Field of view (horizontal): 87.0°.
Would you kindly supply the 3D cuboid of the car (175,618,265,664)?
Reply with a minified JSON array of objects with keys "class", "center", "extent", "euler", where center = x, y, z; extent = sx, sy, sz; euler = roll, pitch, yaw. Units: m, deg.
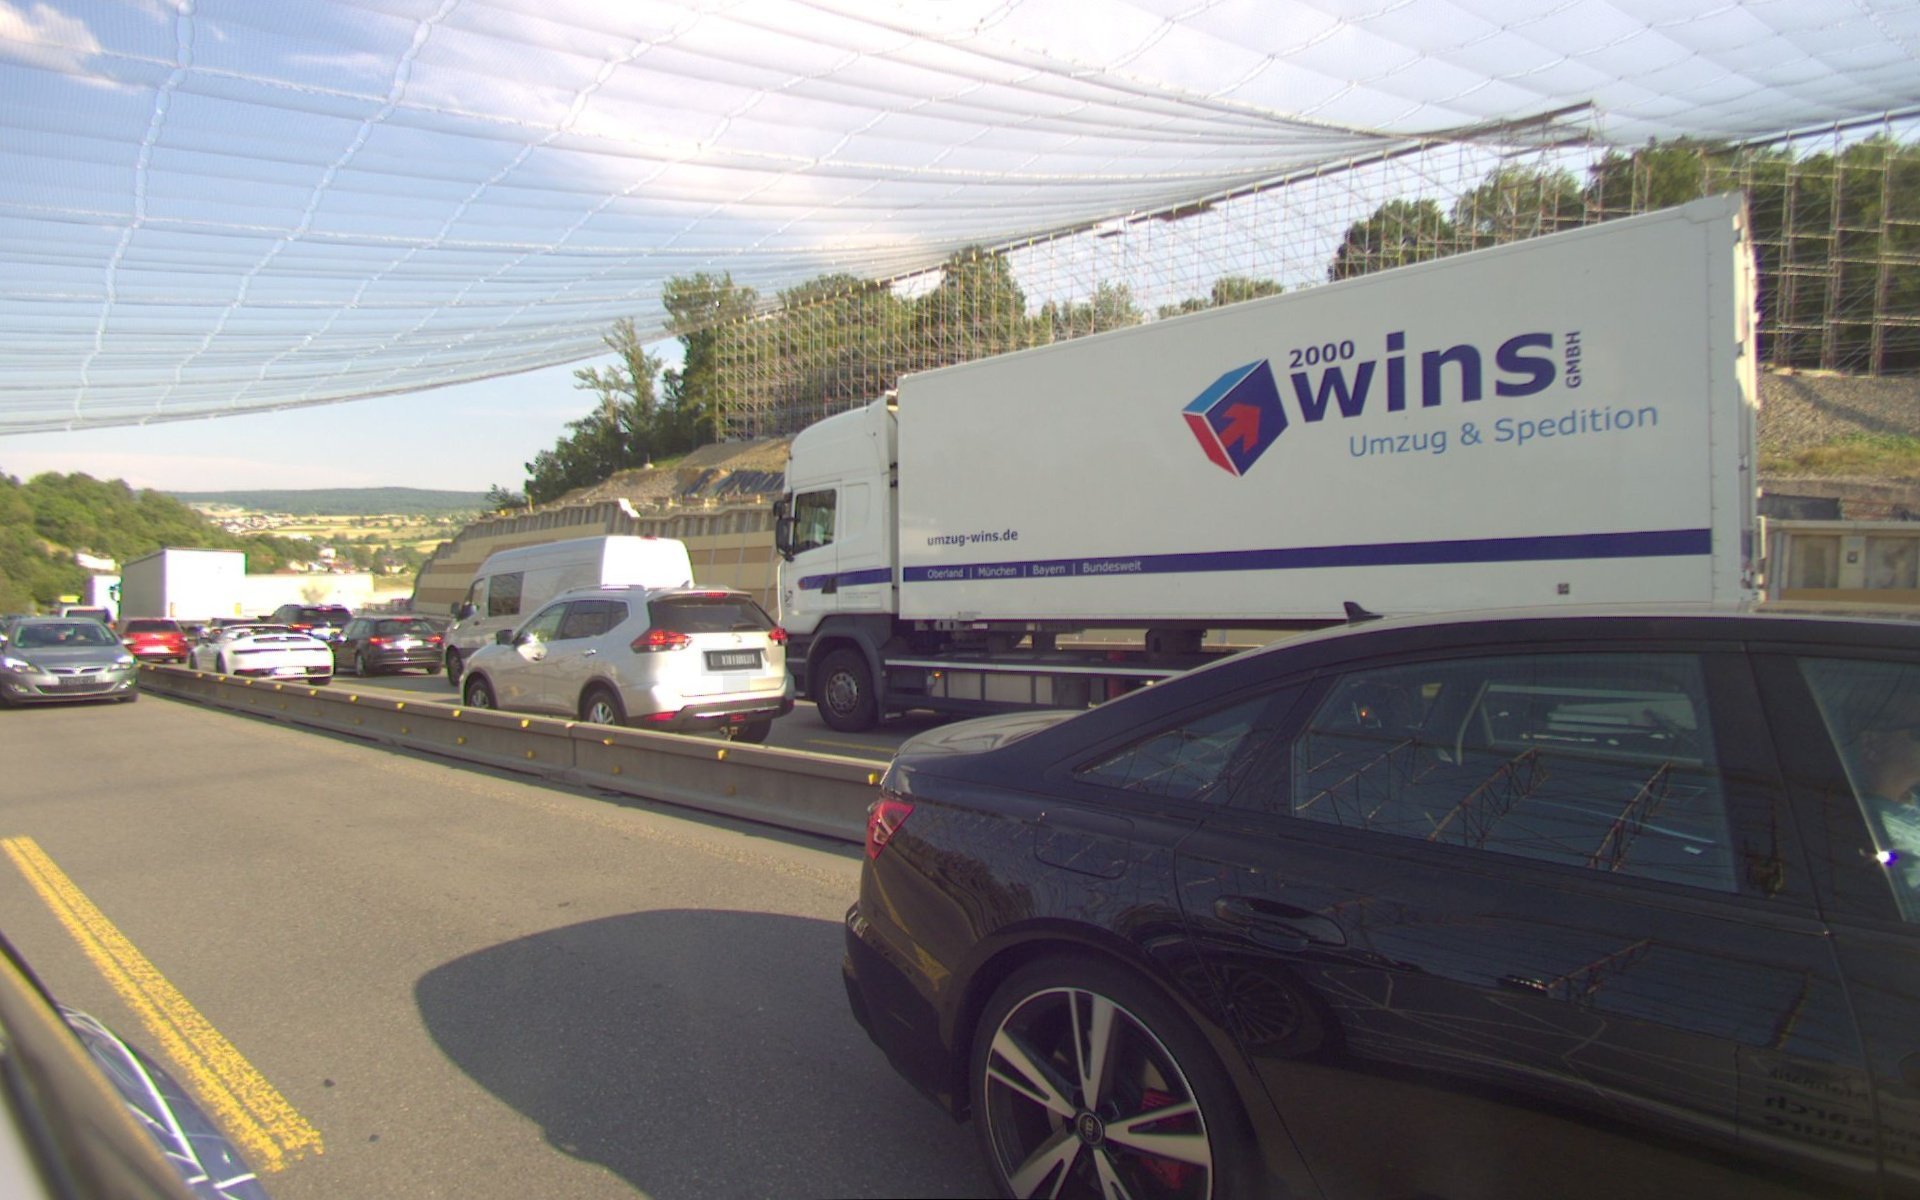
[{"class":"car","center":[-26.783,1.430,36.579],"extent":[4.910,1.552,1.772],"euler":[-1,0,43]}]

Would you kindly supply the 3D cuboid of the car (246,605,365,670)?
[{"class":"car","center":[-19.330,1.053,29.809],"extent":[4.937,1.740,1.804],"euler":[-1,0,43]}]

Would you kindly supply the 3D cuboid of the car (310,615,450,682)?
[{"class":"car","center":[-14.068,1.108,24.445],"extent":[4.381,1.448,1.772],"euler":[-1,0,43]}]

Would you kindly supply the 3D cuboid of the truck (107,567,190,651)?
[{"class":"truck","center":[-40.190,0.441,50.078],"extent":[6.051,3.937,2.488],"euler":[-1,-1,44]}]

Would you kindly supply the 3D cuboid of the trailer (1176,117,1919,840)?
[{"class":"trailer","center":[7.807,-0.714,5.353],"extent":[13.321,4.046,2.643],"euler":[-1,0,40]}]

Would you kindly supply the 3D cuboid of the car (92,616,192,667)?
[{"class":"car","center":[-25.428,1.243,31.415],"extent":[4.518,1.430,1.788],"euler":[-1,0,43]}]

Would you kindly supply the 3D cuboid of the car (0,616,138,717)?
[{"class":"car","center":[-15.497,1.033,17.228],"extent":[4.352,1.484,1.737],"euler":[-1,0,43]}]

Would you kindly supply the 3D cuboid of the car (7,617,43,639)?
[{"class":"car","center":[-67.692,1.988,73.245],"extent":[1.912,1.530,4.982],"euler":[0,0,-43]}]

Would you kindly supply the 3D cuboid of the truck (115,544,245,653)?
[{"class":"truck","center":[-35.242,0.018,45.388],"extent":[14.173,4.259,2.691],"euler":[-1,0,44]}]

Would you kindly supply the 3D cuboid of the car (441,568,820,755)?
[{"class":"car","center":[-3.616,0.544,10.691],"extent":[4.363,1.580,1.790],"euler":[-1,0,40]}]

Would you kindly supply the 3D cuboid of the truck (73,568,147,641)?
[{"class":"truck","center":[-59.652,0.366,70.811],"extent":[2.952,4.593,17.422],"euler":[0,0,-43]}]

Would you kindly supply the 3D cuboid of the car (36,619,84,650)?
[{"class":"car","center":[-48.797,1.831,54.848],"extent":[4.219,1.563,1.564],"euler":[-1,0,43]}]

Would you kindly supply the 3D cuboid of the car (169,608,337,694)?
[{"class":"car","center":[-14.606,0.976,20.810],"extent":[4.363,1.580,1.790],"euler":[-1,0,40]}]

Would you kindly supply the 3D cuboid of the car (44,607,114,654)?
[{"class":"car","center":[-38.258,1.279,43.909],"extent":[5.282,1.883,1.788],"euler":[-1,0,43]}]

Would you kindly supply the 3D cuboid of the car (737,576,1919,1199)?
[{"class":"car","center":[1.899,0.663,1.781],"extent":[4.958,1.409,1.914],"euler":[-2,-1,41]}]

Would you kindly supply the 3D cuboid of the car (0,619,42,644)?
[{"class":"car","center":[-60.657,1.986,65.229],"extent":[4.647,1.546,1.913],"euler":[-1,0,44]}]

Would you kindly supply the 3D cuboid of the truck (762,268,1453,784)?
[{"class":"truck","center":[1.139,-0.530,11.068],"extent":[7.200,3.939,2.604],"euler":[-1,0,41]}]

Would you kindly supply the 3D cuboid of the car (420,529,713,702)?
[{"class":"car","center":[-7.692,0.277,19.219],"extent":[7.080,2.733,2.218],"euler":[-1,0,42]}]
